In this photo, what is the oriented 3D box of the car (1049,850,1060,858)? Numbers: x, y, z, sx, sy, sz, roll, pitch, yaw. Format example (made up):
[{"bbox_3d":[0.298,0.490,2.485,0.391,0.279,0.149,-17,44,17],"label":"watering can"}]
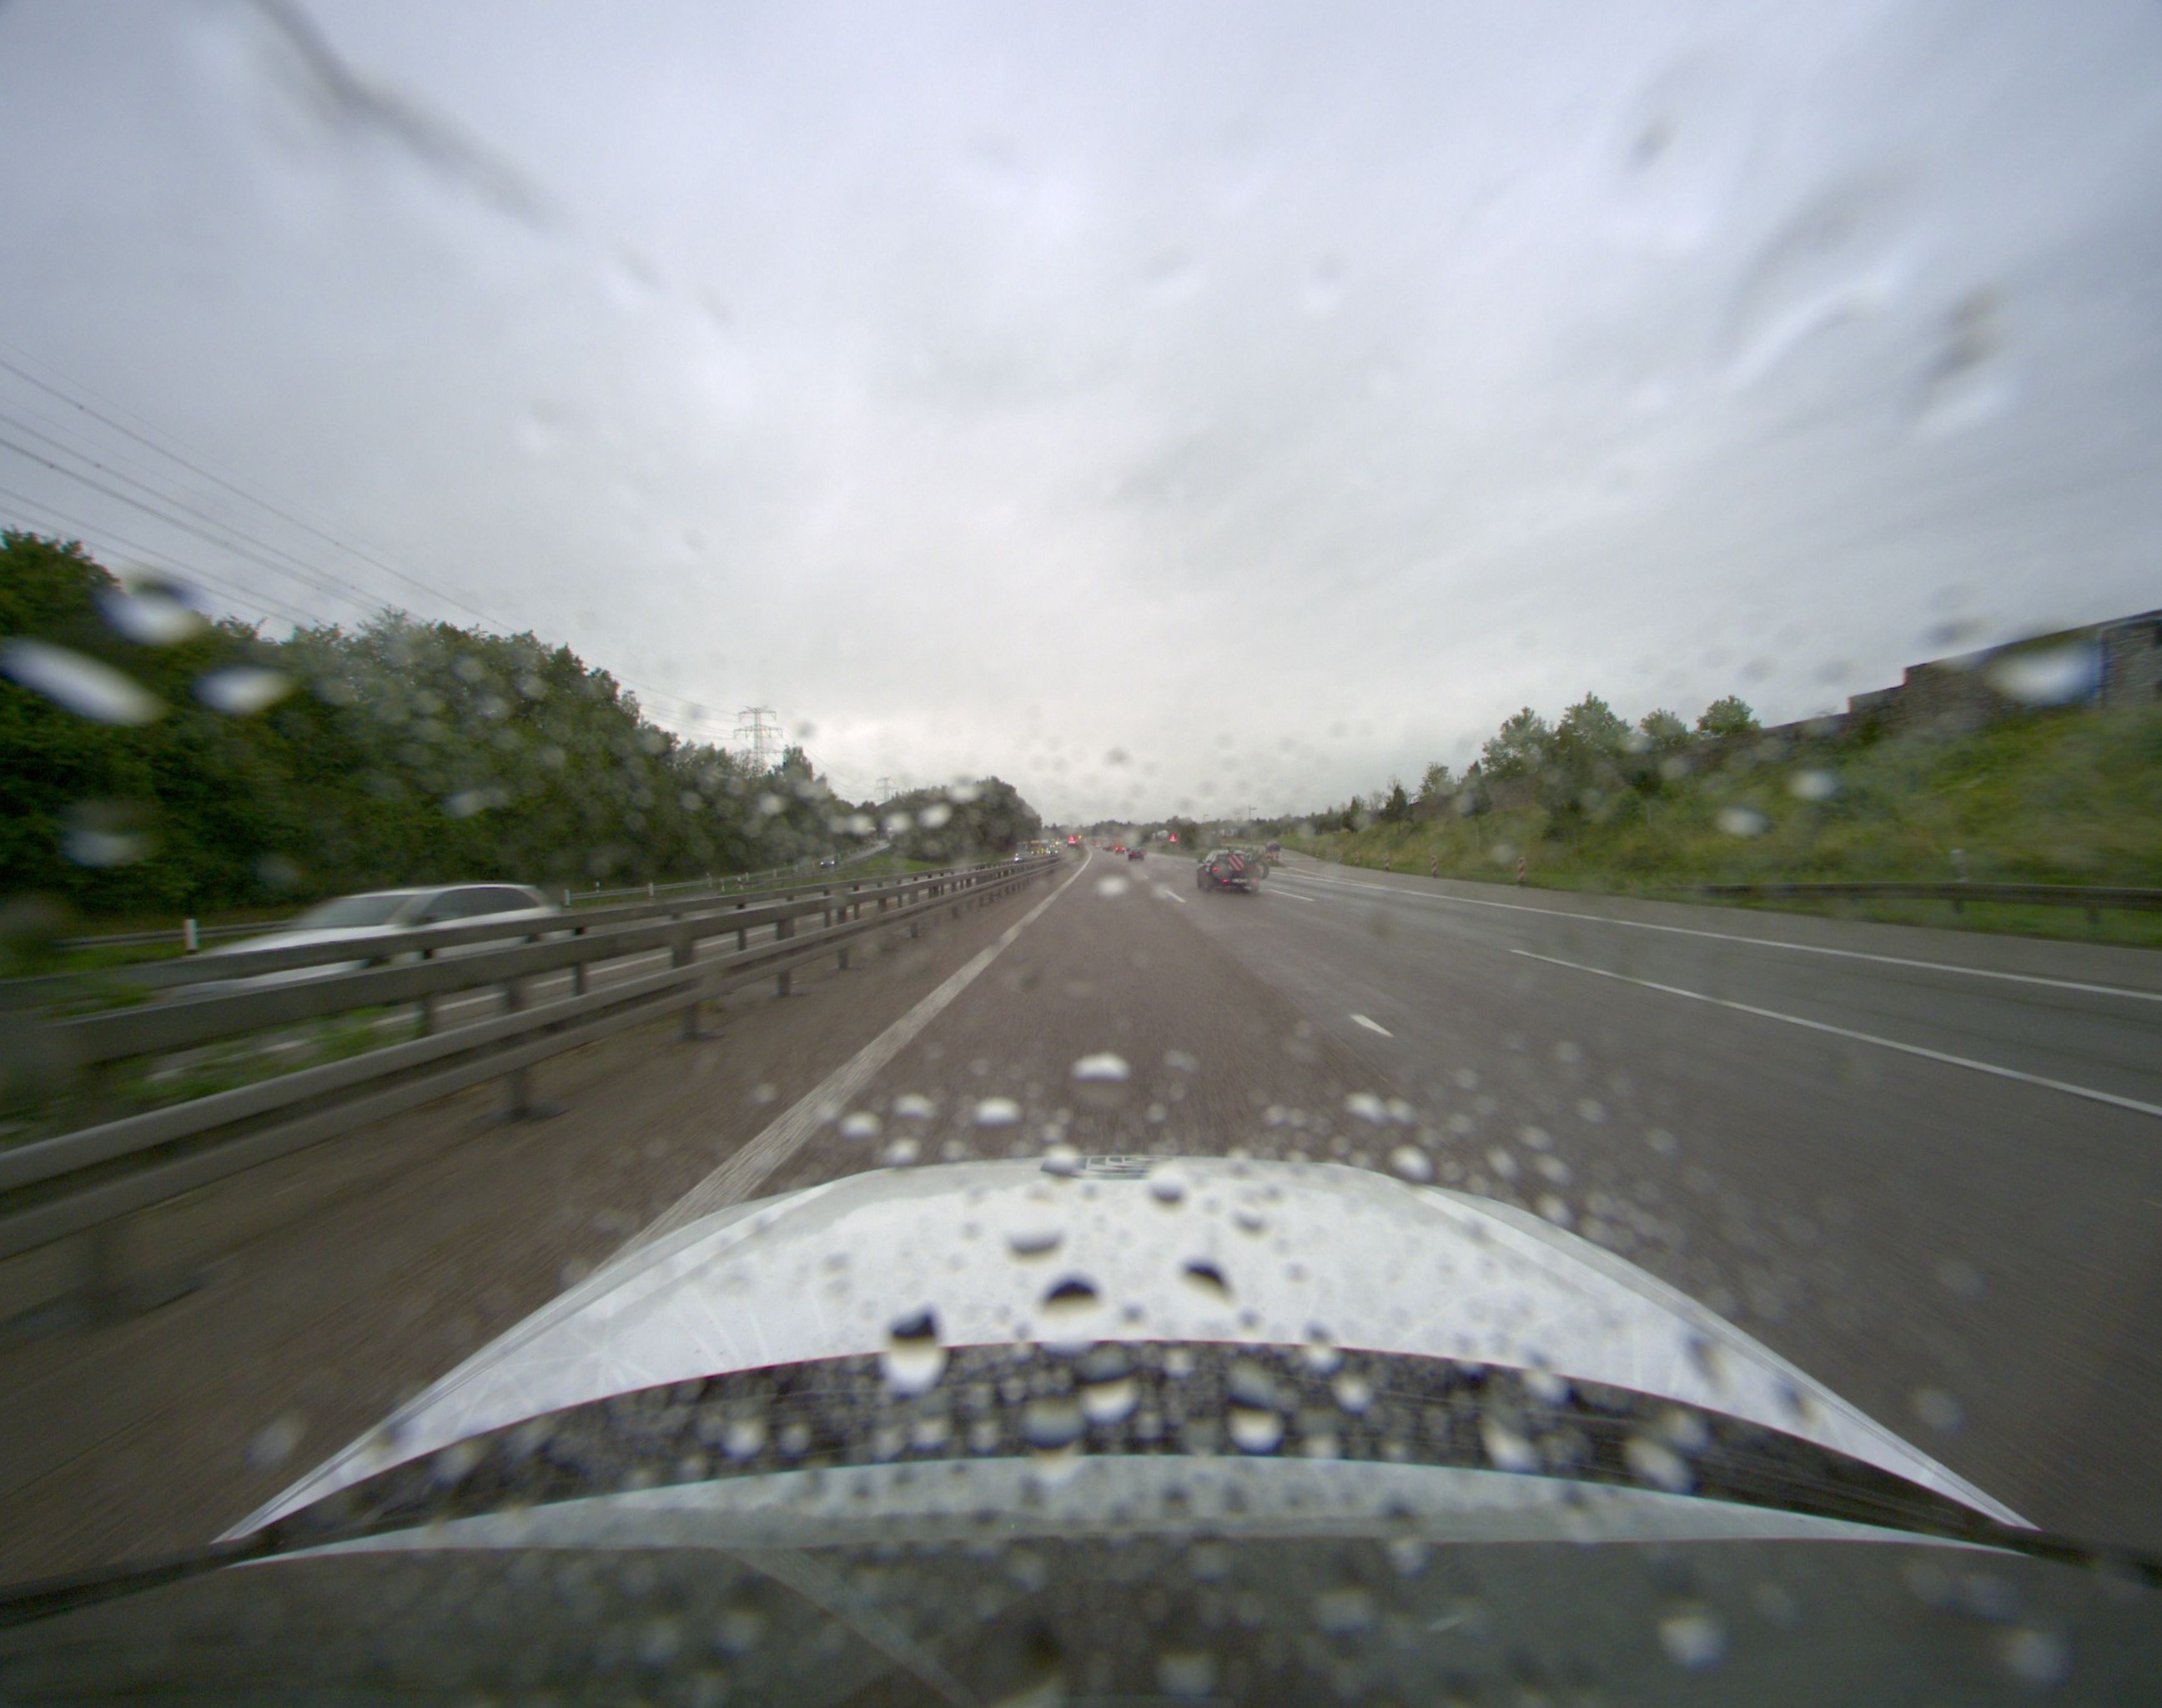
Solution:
[{"bbox_3d":[-5.574,0.023,171.980,1.917,1.656,4.792,-3,0,1],"label":"car"}]

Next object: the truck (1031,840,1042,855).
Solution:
[{"bbox_3d":[-12.819,-1.953,235.265,2.753,4.055,6.157,-4,1,0],"label":"truck"}]

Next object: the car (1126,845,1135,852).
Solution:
[{"bbox_3d":[13.249,-1.524,218.285,1.987,1.628,4.000,-3,1,0],"label":"car"}]

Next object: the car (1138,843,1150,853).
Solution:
[{"bbox_3d":[11.542,-1.132,149.539,1.987,1.761,4.000,2,1,0],"label":"car"}]

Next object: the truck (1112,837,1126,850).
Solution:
[{"bbox_3d":[12.433,-3.325,265.573,3.911,3.981,12.240,-3,1,0],"label":"truck"}]

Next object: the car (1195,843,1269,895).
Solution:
[{"bbox_3d":[5.316,0.511,29.346,2.048,1.671,5.529,-1,0,5],"label":"car"}]

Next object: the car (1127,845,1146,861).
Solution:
[{"bbox_3d":[6.576,-0.115,96.998,1.987,1.761,4.000,-3,1,0],"label":"car"}]

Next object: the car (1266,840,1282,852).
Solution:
[{"bbox_3d":[29.081,-1.200,122.910,1.912,1.709,4.008,-3,0,7],"label":"car"}]

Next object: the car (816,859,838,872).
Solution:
[{"bbox_3d":[-32.074,1.448,102.795,1.967,1.543,3.989,-3,0,-8],"label":"car"}]

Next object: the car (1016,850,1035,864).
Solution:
[{"bbox_3d":[-6.795,0.353,100.592,1.815,1.512,4.792,-3,0,1],"label":"car"}]

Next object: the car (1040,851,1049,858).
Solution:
[{"bbox_3d":[-9.419,0.136,211.565,1.868,1.603,4.515,-3,0,1],"label":"car"}]

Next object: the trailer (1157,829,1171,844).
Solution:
[{"bbox_3d":[25.566,-5.394,252.295,2.975,4.156,12.956,-3,1,0],"label":"trailer"}]

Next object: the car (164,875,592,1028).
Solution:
[{"bbox_3d":[-9.355,1.159,11.559,1.750,1.461,4.764,-4,0,2],"label":"car"}]

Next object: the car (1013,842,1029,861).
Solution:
[{"bbox_3d":[-11.595,-0.479,156.746,2.246,3.327,6.177,-3,0,1],"label":"car"}]

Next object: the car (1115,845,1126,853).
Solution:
[{"bbox_3d":[7.914,-0.997,164.835,1.987,1.628,4.000,-3,1,0],"label":"car"}]

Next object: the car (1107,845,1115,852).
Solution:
[{"bbox_3d":[7.907,-1.429,215.525,1.987,1.628,4.000,-3,1,0],"label":"car"}]
